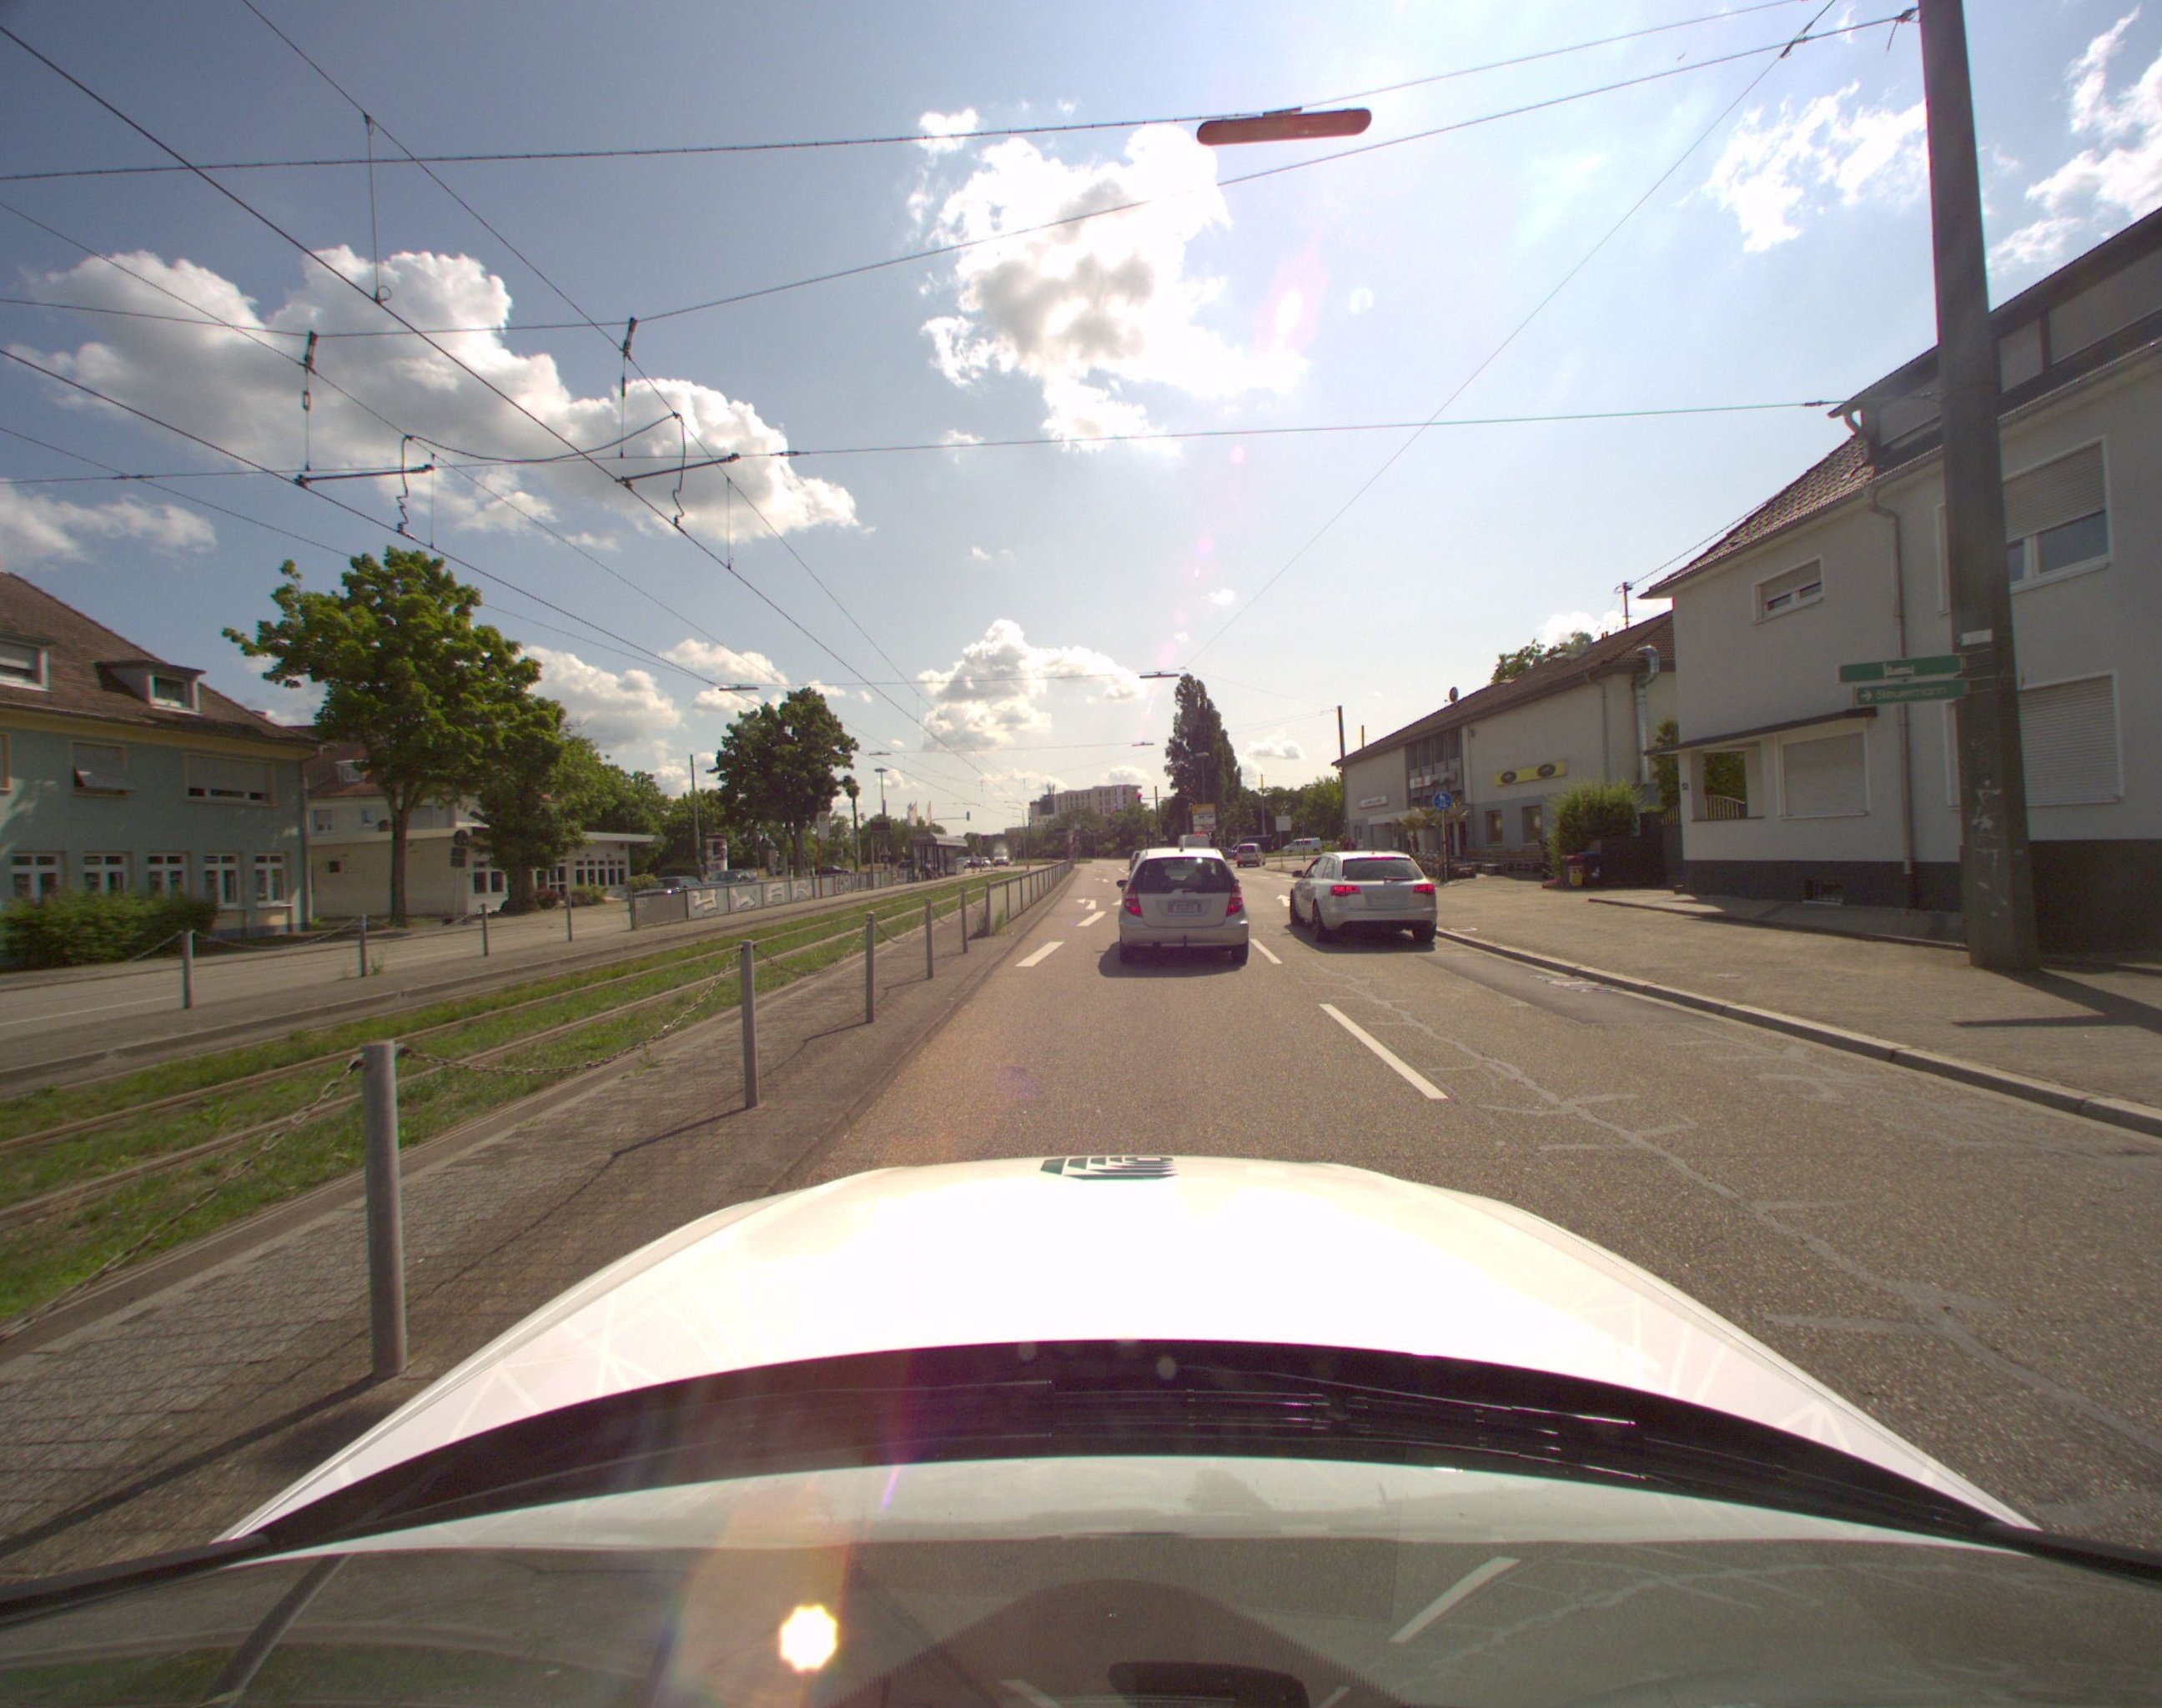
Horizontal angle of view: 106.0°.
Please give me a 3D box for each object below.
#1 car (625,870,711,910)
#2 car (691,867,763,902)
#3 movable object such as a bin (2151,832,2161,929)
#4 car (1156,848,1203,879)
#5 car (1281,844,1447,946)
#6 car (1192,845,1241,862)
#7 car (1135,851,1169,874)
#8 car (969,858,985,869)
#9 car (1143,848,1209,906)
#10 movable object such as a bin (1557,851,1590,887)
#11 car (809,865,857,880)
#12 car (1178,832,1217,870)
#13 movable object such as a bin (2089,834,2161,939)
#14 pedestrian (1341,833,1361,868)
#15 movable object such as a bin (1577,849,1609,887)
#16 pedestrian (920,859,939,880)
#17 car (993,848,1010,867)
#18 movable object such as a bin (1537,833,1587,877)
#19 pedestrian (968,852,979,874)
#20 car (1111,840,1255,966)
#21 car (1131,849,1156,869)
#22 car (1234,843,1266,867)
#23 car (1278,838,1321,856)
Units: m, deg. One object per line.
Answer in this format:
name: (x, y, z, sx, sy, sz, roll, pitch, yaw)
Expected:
car: (-18.907, 1.615, 37.485, 1.779, 1.584, 3.933, -2, 0, 3)
car: (-18.899, 1.585, 43.720, 2.057, 1.614, 4.745, -3, 0, -5)
movable object such as a bin: (11.993, 0.278, 8.547, 0.643, 1.055, 0.659, -2, 0, 1)
car: (5.009, 0.452, 41.950, 1.881, 1.448, 4.829, -1, 0, 1)
car: (4.798, 0.613, 14.514, 1.845, 1.492, 4.545, -2, 0, 7)
car: (14.207, -0.067, 85.536, 4.841, 1.660, 2.002, -1, 0, 4)
car: (4.634, 0.510, 53.574, 1.863, 1.419, 4.100, -1, 0, 1)
car: (-14.728, 1.336, 115.253, 1.892, 1.541, 3.725, -1, 0, -3)
car: (2.721, 0.606, 24.220, 1.731, 1.492, 4.635, -2, 0, 4)
movable object such as a bin: (12.663, 0.391, 20.945, 0.443, 0.895, 0.545, -3, 0, -4)
car: (-26.433, 1.949, 86.971, 4.440, 1.514, 2.002, -1, 0, 4)
car: (8.346, -0.203, 58.808, 2.034, 2.557, 5.231, -2, 0, 0)
movable object such as a bin: (11.292, 0.326, 8.513, 0.636, 1.047, 0.685, -2, 0, 1)
pedestrian: (14.540, -0.182, 43.911, 0.718, 1.782, 0.703, -5, 0, 3)
movable object such as a bin: (13.164, 0.361, 20.941, 0.440, 0.935, 0.549, -3, 0, -4)
pedestrian: (-9.907, 1.020, 53.412, 1.055, 1.376, 0.860, -1, 0, 1)
car: (-11.248, 0.554, 115.992, 1.988, 2.606, 4.876, -1, 0, -1)
movable object such as a bin: (15.516, 0.027, 26.271, 1.077, 1.332, 0.888, -3, 2, 2)
pedestrian: (-9.149, 0.773, 69.423, 0.805, 1.795, 0.708, -2, 0, -2)
car: (1.529, 0.623, 12.548, 1.778, 1.577, 4.101, -2, 0, 6)
car: (4.897, 0.374, 64.289, 1.739, 1.499, 4.380, -2, 0, 1)
car: (13.321, 0.083, 64.007, 1.870, 1.731, 4.114, -3, -1, 19)
car: (25.936, -0.824, 96.778, 4.653, 1.936, 2.003, -2, 0, 5)
